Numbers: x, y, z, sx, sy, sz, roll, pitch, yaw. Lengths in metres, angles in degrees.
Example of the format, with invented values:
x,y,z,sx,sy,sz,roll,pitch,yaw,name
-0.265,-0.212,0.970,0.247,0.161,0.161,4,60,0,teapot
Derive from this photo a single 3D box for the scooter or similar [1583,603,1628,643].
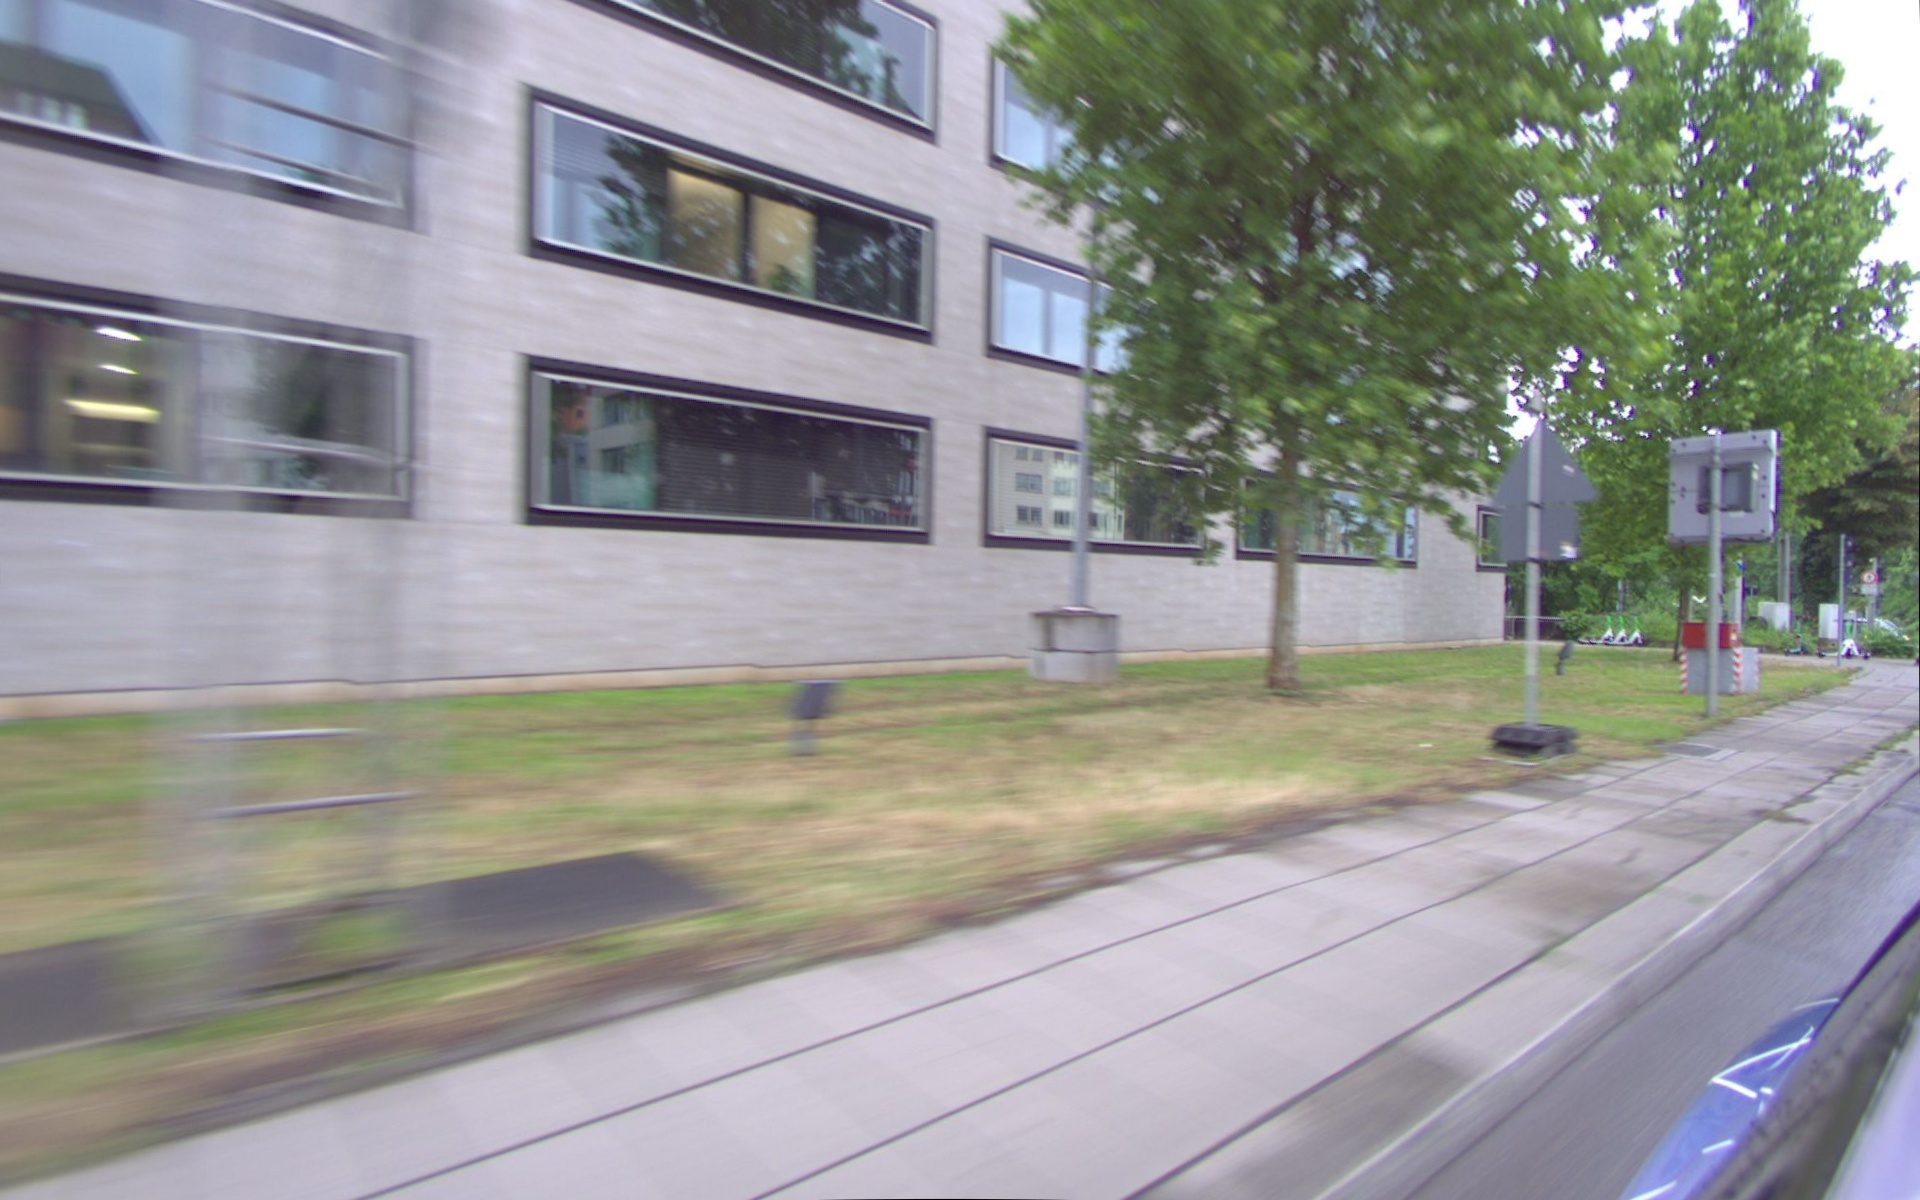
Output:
x,y,z,sx,sy,sz,roll,pitch,yaw,name
22.822,0.807,35.805,0.464,1.329,1.238,1,1,-43,scooter or similar

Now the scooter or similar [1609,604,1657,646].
x,y,z,sx,sy,sz,roll,pitch,yaw,name
22.801,0.832,34.275,0.545,1.329,1.238,1,1,-43,scooter or similar

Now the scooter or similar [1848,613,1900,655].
x,y,z,sx,sy,sz,roll,pitch,yaw,name
27.073,0.990,30.000,0.630,1.142,1.581,2,1,23,scooter or similar

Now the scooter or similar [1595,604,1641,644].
x,y,z,sx,sy,sz,roll,pitch,yaw,name
22.800,0.822,35.058,0.464,1.329,1.238,1,1,-43,scooter or similar

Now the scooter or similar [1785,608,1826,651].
x,y,z,sx,sy,sz,roll,pitch,yaw,name
24.950,0.852,29.866,1.300,1.216,0.564,1,1,-35,scooter or similar

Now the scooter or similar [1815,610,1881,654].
x,y,z,sx,sy,sz,roll,pitch,yaw,name
25.947,0.937,29.588,1.312,1.216,0.690,2,1,-3,scooter or similar
